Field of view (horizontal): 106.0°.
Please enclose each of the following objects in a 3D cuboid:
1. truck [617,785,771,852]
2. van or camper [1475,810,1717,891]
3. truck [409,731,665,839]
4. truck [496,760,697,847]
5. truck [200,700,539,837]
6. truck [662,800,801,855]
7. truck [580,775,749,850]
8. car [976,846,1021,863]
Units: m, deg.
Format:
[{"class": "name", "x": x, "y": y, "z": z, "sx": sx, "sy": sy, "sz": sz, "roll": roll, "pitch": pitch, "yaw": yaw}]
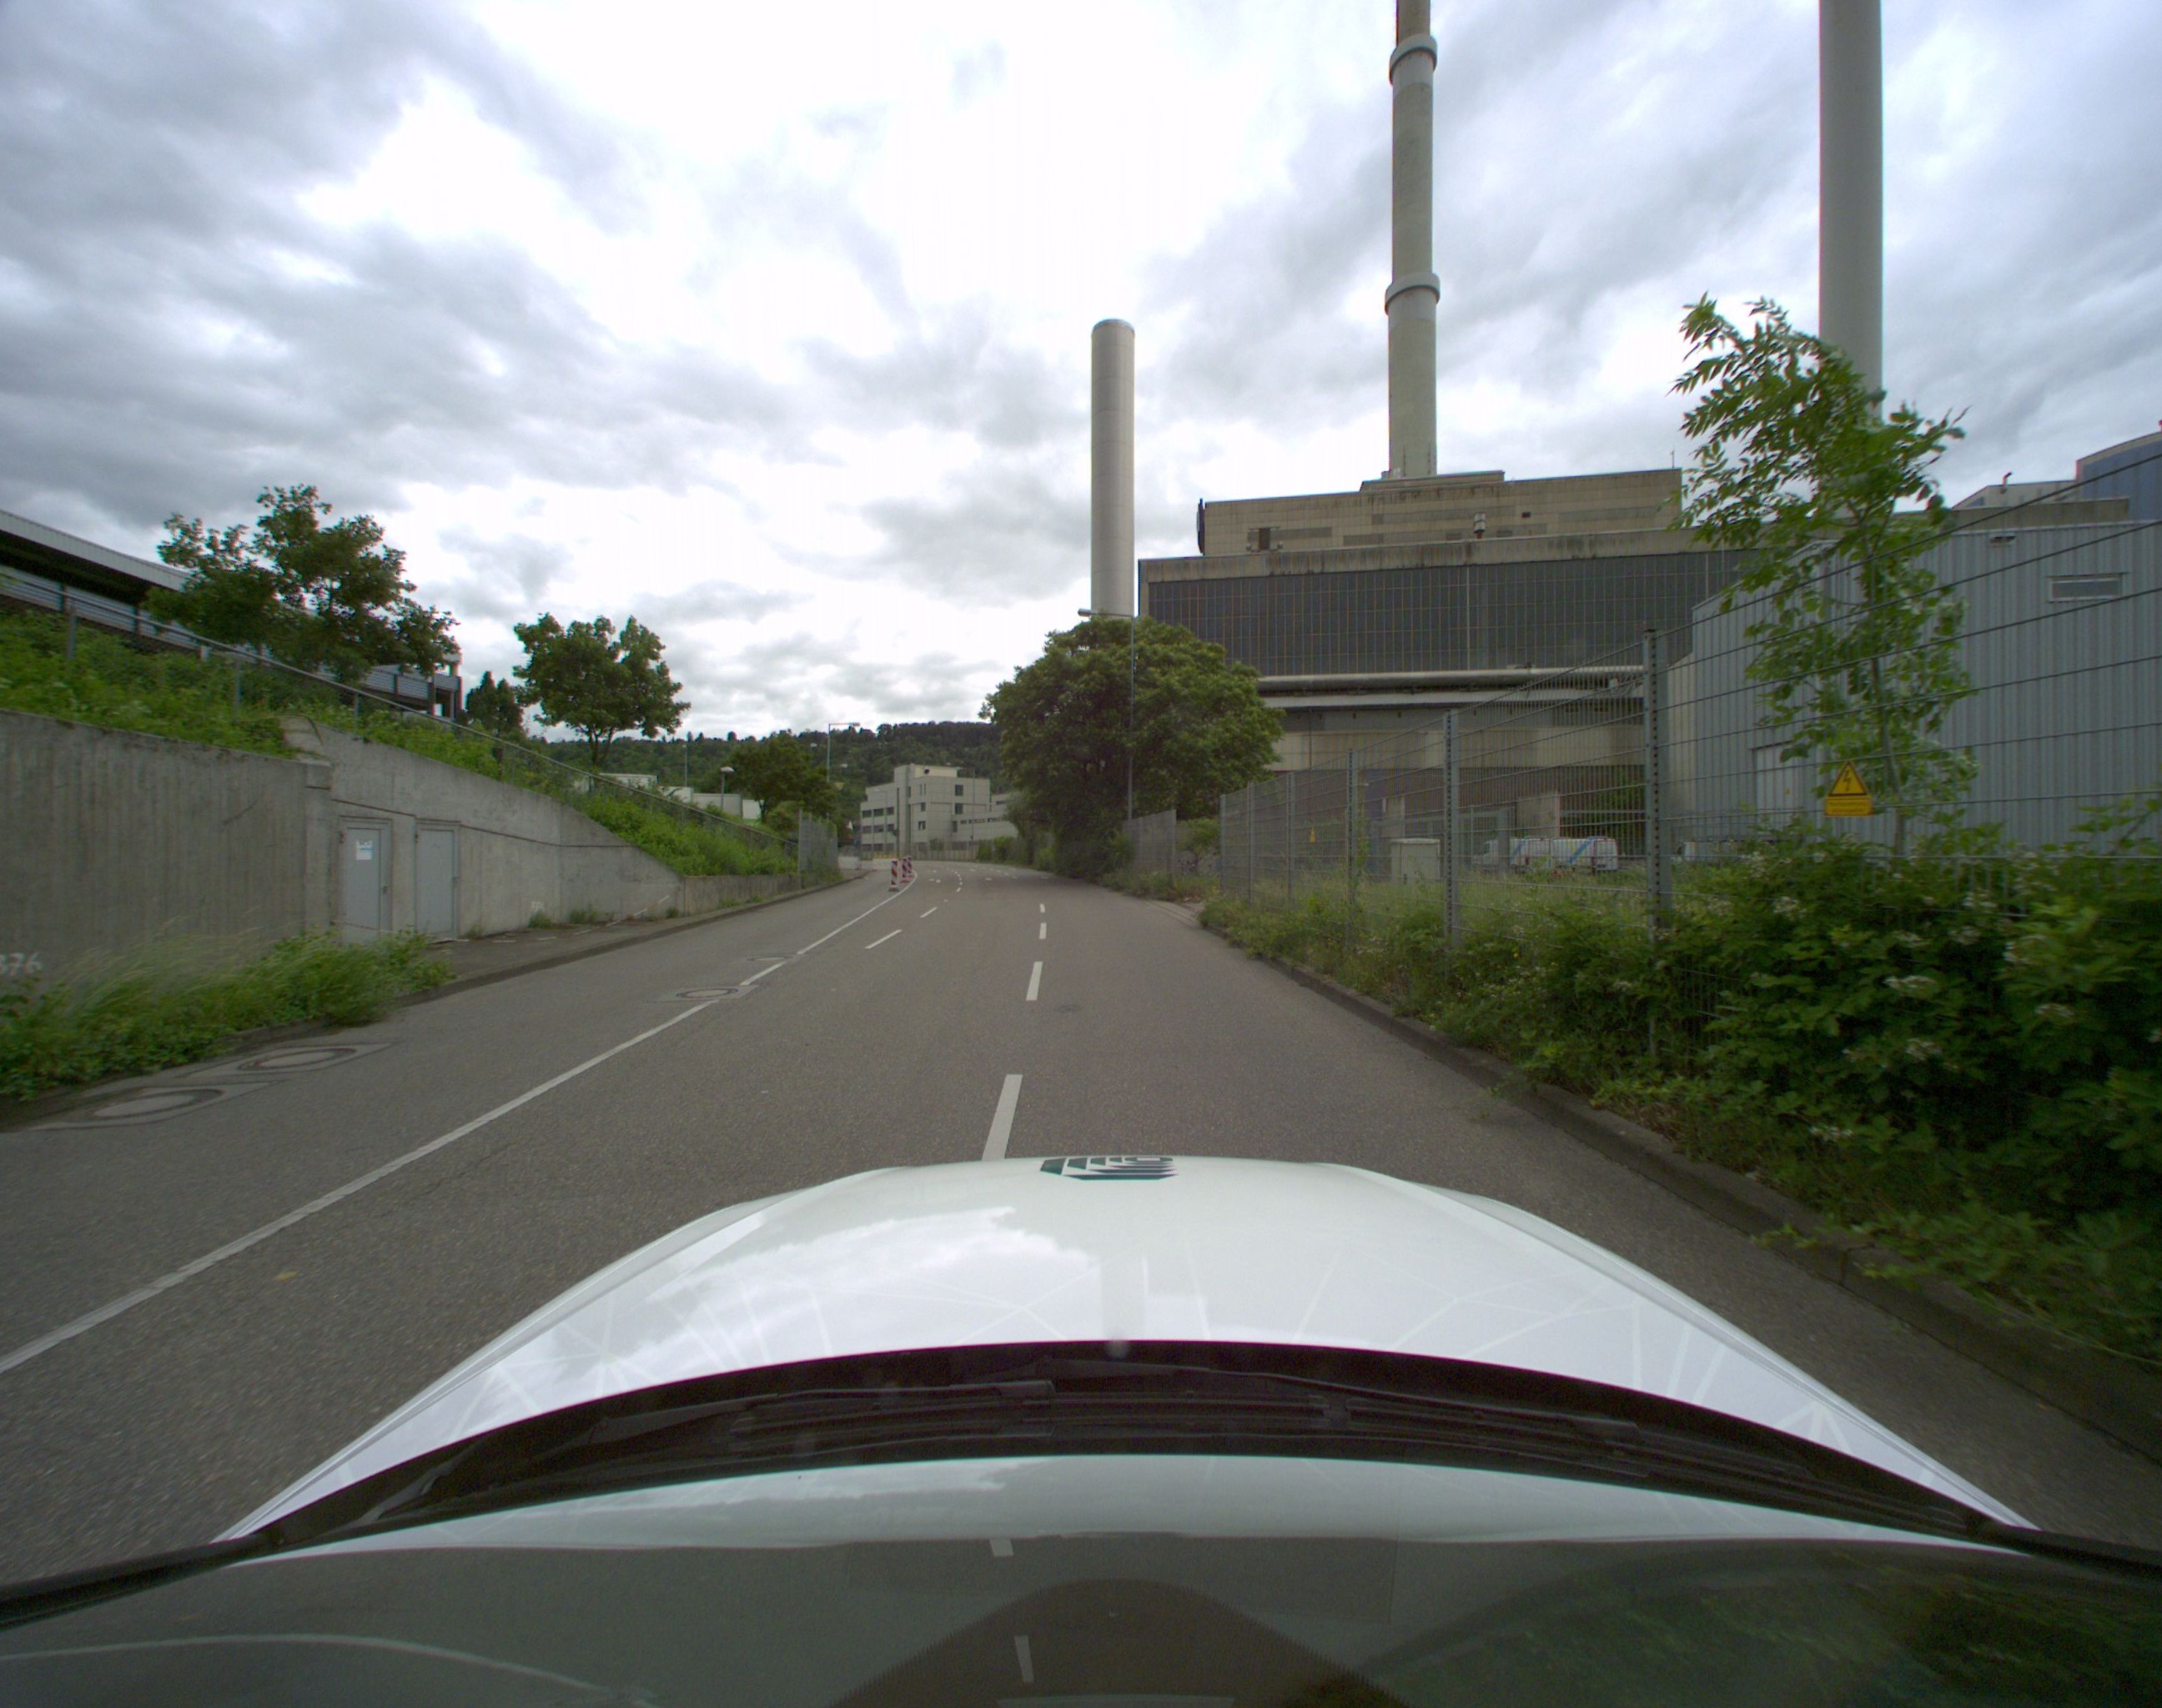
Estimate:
[{"class": "truck", "x": -22.956, "y": -1.958, "z": 48.493, "sx": 7.900, "sy": 3.539, "sz": 3.019, "roll": 1, "pitch": -2, "yaw": -36}, {"class": "van or camper", "x": 31.018, "y": -0.151, "z": 49.440, "sx": 11.807, "sy": 4.531, "sz": 5.467, "roll": 0, "pitch": -2, "yaw": -10}, {"class": "truck", "x": -21.510, "y": -2.522, "z": 32.632, "sx": 8.193, "sy": 3.539, "sz": 3.018, "roll": 1, "pitch": -2, "yaw": -38}, {"class": "truck", "x": -22.767, "y": -2.200, "z": 38.531, "sx": 7.903, "sy": 3.539, "sz": 3.018, "roll": 1, "pitch": -2, "yaw": -38}, {"class": "truck", "x": -22.506, "y": -2.498, "z": 26.509, "sx": 7.903, "sy": 3.539, "sz": 3.018, "roll": 1, "pitch": -2, "yaw": -38}, {"class": "truck", "x": -26.774, "y": -1.921, "z": 63.031, "sx": 9.652, "sy": 3.991, "sz": 3.032, "roll": 0, "pitch": -2, "yaw": -20}, {"class": "truck", "x": -22.341, "y": -2.105, "z": 43.866, "sx": 7.894, "sy": 3.539, "sz": 3.021, "roll": 1, "pitch": -2, "yaw": -33}, {"class": "car", "x": -10.837, "y": 0.062, "z": 106.449, "sx": 6.090, "sy": 2.263, "sz": 2.013, "roll": 0, "pitch": -1, "yaw": 37}]
